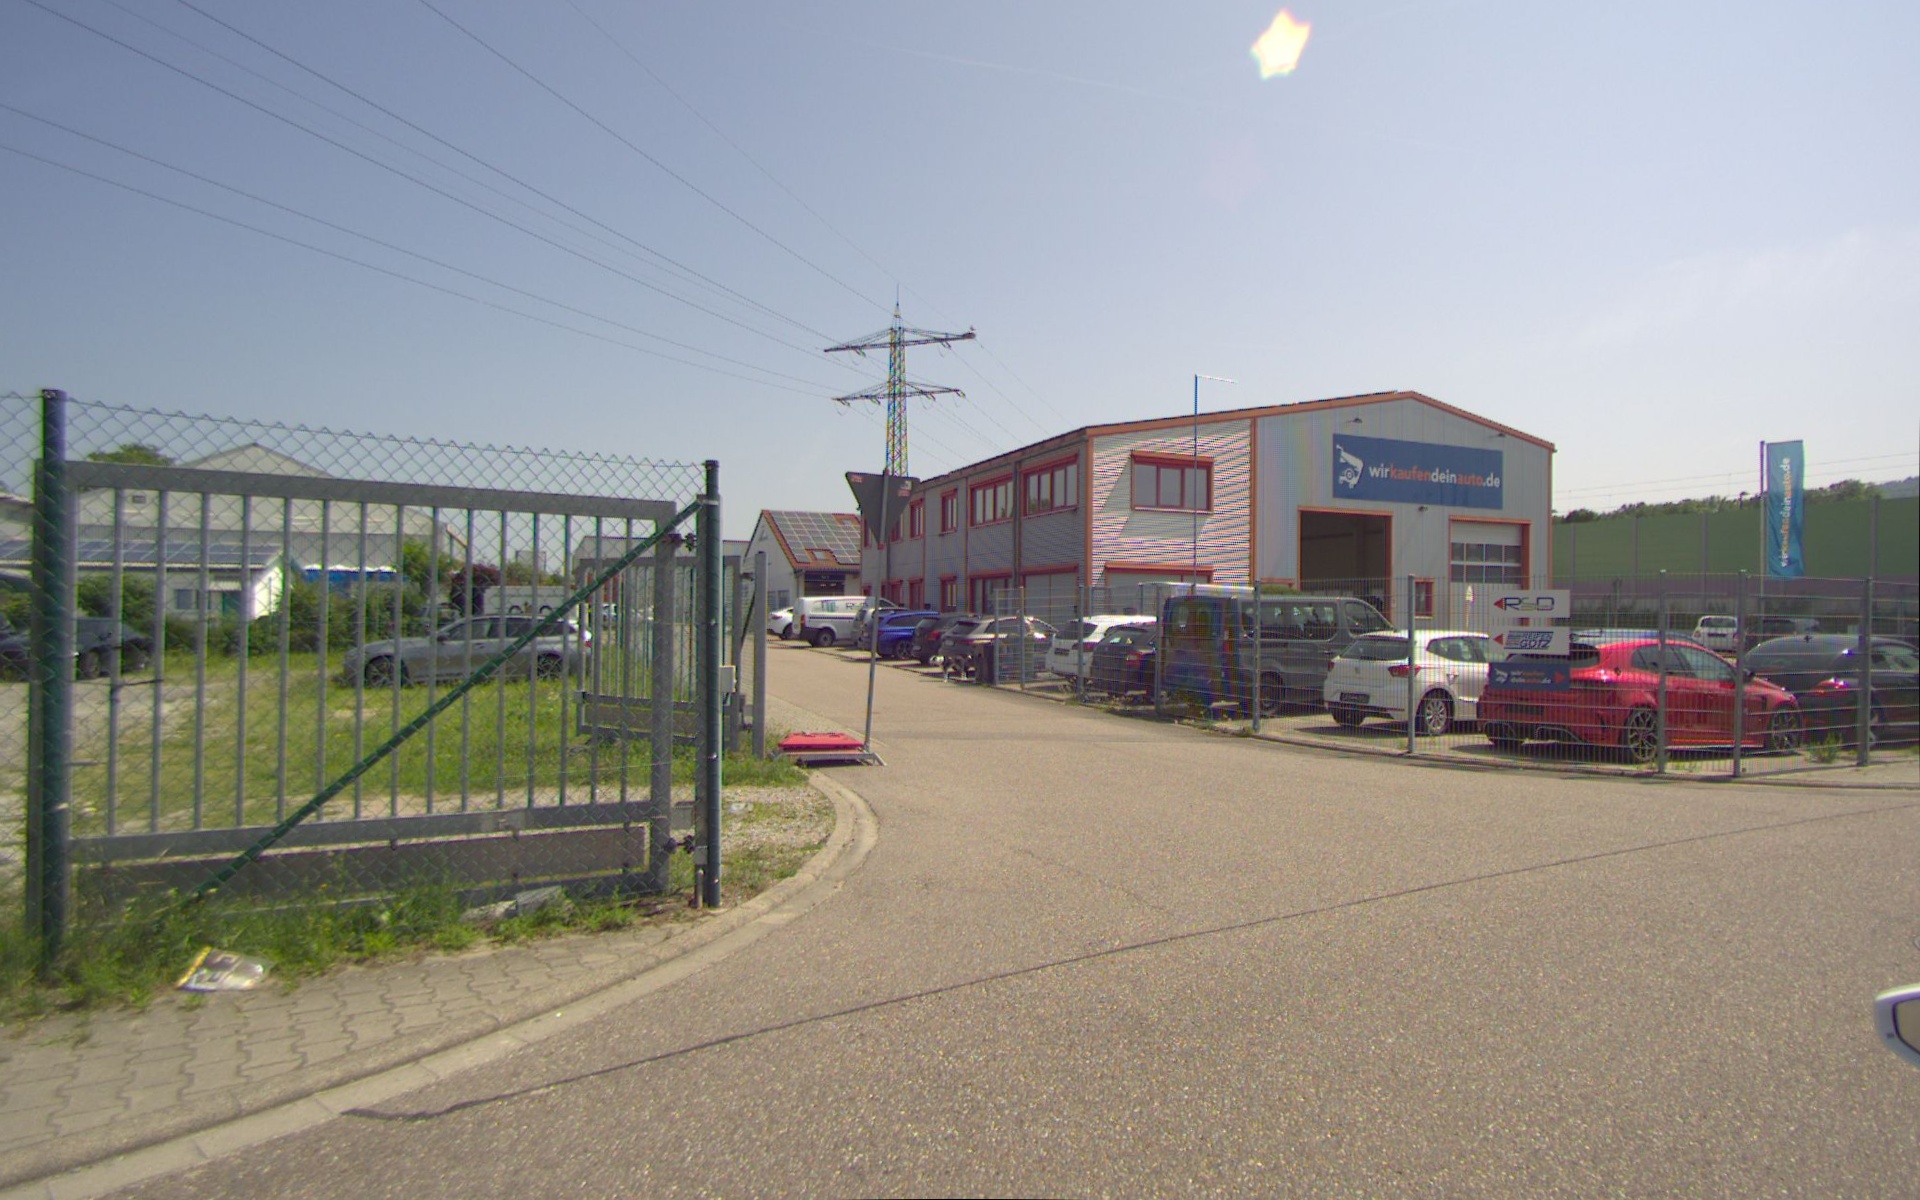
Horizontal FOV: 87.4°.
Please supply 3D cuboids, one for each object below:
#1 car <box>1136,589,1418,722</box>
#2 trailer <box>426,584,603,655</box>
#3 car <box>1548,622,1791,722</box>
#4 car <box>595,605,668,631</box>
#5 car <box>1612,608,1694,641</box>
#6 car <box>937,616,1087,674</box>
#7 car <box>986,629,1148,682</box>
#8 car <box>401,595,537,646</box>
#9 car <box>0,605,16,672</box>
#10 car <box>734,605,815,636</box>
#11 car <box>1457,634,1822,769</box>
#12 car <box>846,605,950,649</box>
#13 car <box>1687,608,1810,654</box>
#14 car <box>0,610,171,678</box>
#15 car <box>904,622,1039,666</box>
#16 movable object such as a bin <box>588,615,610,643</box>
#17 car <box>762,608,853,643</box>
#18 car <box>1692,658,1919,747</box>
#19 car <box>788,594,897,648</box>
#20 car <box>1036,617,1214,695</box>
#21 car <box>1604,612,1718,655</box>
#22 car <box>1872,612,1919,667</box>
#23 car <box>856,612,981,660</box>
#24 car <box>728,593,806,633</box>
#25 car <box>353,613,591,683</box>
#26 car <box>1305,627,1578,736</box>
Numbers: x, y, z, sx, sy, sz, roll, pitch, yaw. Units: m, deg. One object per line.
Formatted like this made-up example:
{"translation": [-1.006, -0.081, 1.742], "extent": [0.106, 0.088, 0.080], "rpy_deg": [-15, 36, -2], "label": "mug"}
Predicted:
{"translation": [5.455, 0.902, 17.288], "extent": [4.453, 2.057, 1.946], "rpy_deg": [1, -1, -23], "label": "car"}
{"translation": [-12.899, 0.563, 29.320], "extent": [4.380, 1.971, 1.712], "rpy_deg": [1, -1, -8], "label": "trailer"}
{"translation": [11.602, 1.118, 16.417], "extent": [3.839, 1.474, 1.480], "rpy_deg": [1, -1, -23], "label": "car"}
{"translation": [-17.798, 0.988, 54.373], "extent": [3.632, 1.360, 1.657], "rpy_deg": [1, -1, -23], "label": "car"}
{"translation": [36.474, 1.269, 52.893], "extent": [3.942, 1.679, 1.695], "rpy_deg": [1, -1, -22], "label": "car"}
{"translation": [1.329, 1.134, 25.676], "extent": [3.552, 1.399, 1.499], "rpy_deg": [1, -1, -23], "label": "car"}
{"translation": [2.525, 1.277, 23.741], "extent": [3.552, 1.167, 1.499], "rpy_deg": [1, -1, -23], "label": "car"}
{"translation": [-16.535, 0.709, 34.056], "extent": [3.940, 1.619, 1.868], "rpy_deg": [1, -1, -21], "label": "car"}
{"translation": [-22.864, 0.862, 22.047], "extent": [1.842, 1.575, 3.750], "rpy_deg": [1, -1, -22], "label": "car"}
{"translation": [-9.561, 1.067, 51.746], "extent": [3.851, 1.580, 1.499], "rpy_deg": [1, -1, -23], "label": "car"}
{"translation": [8.383, 1.141, 12.406], "extent": [4.055, 1.405, 1.865], "rpy_deg": [1, -1, -23], "label": "car"}
{"translation": [-2.276, 1.002, 37.101], "extent": [3.552, 1.564, 1.499], "rpy_deg": [1, -1, -23], "label": "car"}
{"translation": [28.779, 1.114, 36.663], "extent": [3.945, 1.603, 1.988], "rpy_deg": [1, -1, -25], "label": "car"}
{"translation": [-20.676, 0.982, 23.706], "extent": [1.973, 1.454, 4.641], "rpy_deg": [1, -1, -22], "label": "car"}
{"translation": [0.334, 1.230, 28.618], "extent": [3.552, 1.167, 1.499], "rpy_deg": [1, -1, -23], "label": "car"}
{"translation": [-14.992, 1.206, 41.675], "extent": [0.739, 1.149, 0.933], "rpy_deg": [1, -1, -28], "label": "movable object such as a bin"}
{"translation": [-6.948, 1.171, 45.701], "extent": [3.851, 1.536, 1.499], "rpy_deg": [1, -1, -23], "label": "car"}
{"translation": [12.350, 1.379, 14.136], "extent": [4.055, 1.020, 1.480], "rpy_deg": [1, -1, -23], "label": "car"}
{"translation": [-4.563, 0.820, 39.025], "extent": [3.851, 2.005, 1.813], "rpy_deg": [1, -1, -23], "label": "car"}
{"translation": [3.548, 1.163, 21.645], "extent": [3.552, 1.560, 1.499], "rpy_deg": [1, -1, -23], "label": "car"}
{"translation": [27.542, 1.284, 39.444], "extent": [3.945, 1.603, 1.988], "rpy_deg": [1, -1, -25], "label": "car"}
{"translation": [29.925, 1.190, 30.460], "extent": [3.945, 1.603, 1.988], "rpy_deg": [1, -1, -25], "label": "car"}
{"translation": [-1.275, 1.098, 31.030], "extent": [3.552, 1.435, 1.499], "rpy_deg": [1, -1, -23], "label": "car"}
{"translation": [-10.317, 0.702, 53.637], "extent": [3.851, 2.041, 1.499], "rpy_deg": [1, -1, -23], "label": "car"}
{"translation": [-9.485, 0.917, 19.800], "extent": [4.084, 1.277, 1.228], "rpy_deg": [1, -1, -24], "label": "car"}
{"translation": [7.098, 1.131, 14.829], "extent": [3.552, 1.423, 1.742], "rpy_deg": [1, -1, -23], "label": "car"}
